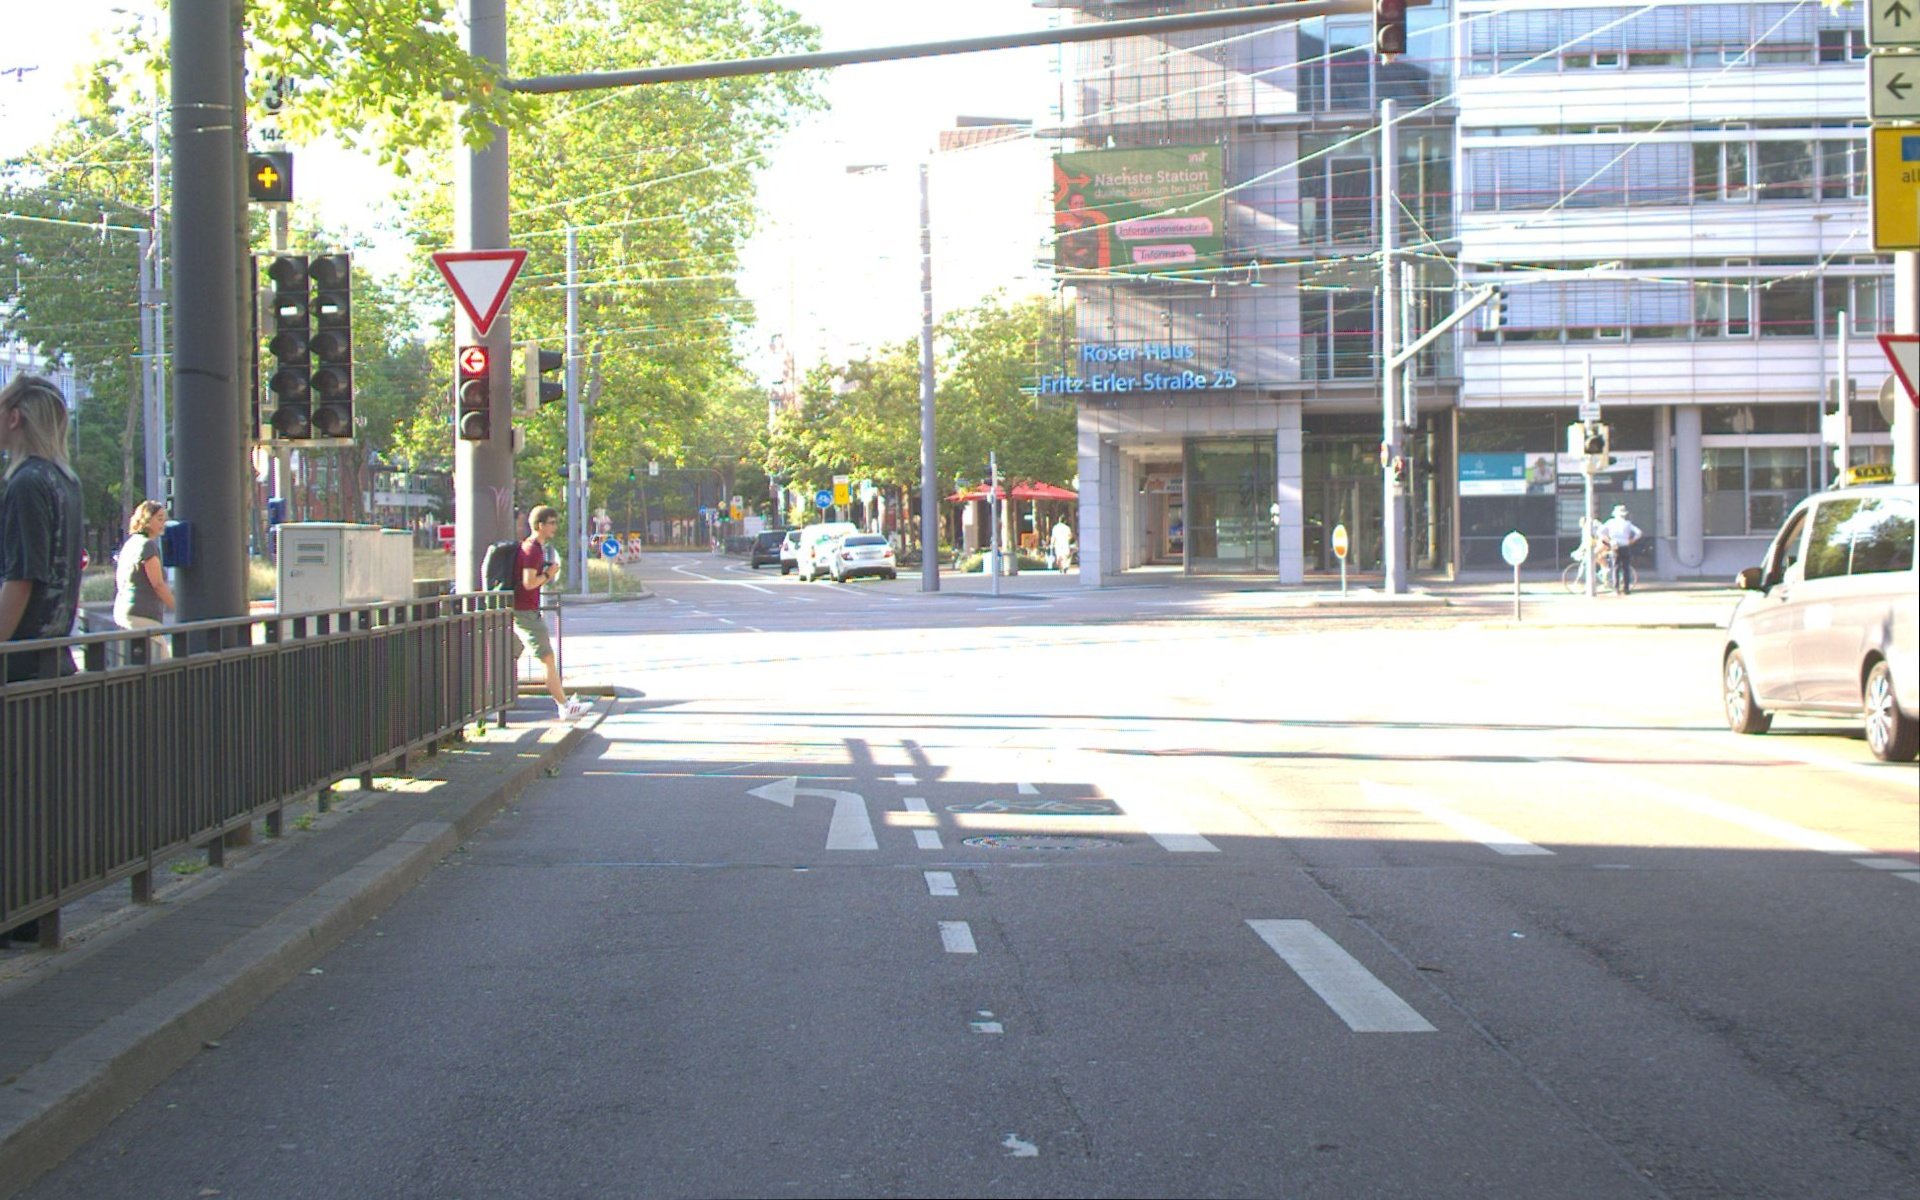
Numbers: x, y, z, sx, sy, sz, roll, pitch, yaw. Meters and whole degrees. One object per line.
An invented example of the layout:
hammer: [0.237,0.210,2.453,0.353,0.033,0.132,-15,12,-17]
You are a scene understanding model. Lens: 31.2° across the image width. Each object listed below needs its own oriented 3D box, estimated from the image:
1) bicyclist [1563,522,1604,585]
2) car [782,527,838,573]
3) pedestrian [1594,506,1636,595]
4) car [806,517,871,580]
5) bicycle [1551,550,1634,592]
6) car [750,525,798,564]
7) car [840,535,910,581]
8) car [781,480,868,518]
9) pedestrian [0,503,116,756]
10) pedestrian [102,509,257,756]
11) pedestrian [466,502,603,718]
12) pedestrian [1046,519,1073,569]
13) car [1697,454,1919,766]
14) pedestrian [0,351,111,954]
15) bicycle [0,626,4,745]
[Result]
bicyclist: [13.702,-1.016,75.546,0.819,1.362,0.400,-1,1,3]
car: [-5.563,-1.855,127.234,1.993,1.656,4.001,-1,1,-3]
pedestrian: [12.468,-0.949,65.442,0.720,1.676,0.557,1,1,4]
car: [-3.965,-1.685,111.742,1.993,1.985,4.001,-1,1,-3]
bicycle: [13.895,-0.640,75.544,1.741,0.896,0.409,-1,1,3]
car: [-8.037,-2.405,148.697,1.993,1.656,4.001,-1,1,-3]
car: [-2.610,-1.295,105.081,1.993,1.327,4.001,-1,1,-3]
car: [-6.385,-4.758,162.031,3.763,1.744,1.781,1,0,12]
pedestrian: [-7.007,0.216,25.995,1.145,1.887,0.833,0,0,-10]
pedestrian: [-5.783,0.234,25.516,1.071,1.800,0.758,0,0,-10]
pedestrian: [-3.408,0.080,27.572,1.073,1.709,0.628,0,0,-6]
pedestrian: [2.984,-1.681,103.149,0.739,1.460,0.537,-1,1,-4]
car: [6.878,0.024,24.242,1.993,1.959,5.138,1,1,-3]
pedestrian: [-3.109,0.160,11.173,0.509,1.893,0.760,1,0,-2]
bicycle: [-8.611,0.688,26.729,2.177,0.930,0.668,-1,1,-5]
